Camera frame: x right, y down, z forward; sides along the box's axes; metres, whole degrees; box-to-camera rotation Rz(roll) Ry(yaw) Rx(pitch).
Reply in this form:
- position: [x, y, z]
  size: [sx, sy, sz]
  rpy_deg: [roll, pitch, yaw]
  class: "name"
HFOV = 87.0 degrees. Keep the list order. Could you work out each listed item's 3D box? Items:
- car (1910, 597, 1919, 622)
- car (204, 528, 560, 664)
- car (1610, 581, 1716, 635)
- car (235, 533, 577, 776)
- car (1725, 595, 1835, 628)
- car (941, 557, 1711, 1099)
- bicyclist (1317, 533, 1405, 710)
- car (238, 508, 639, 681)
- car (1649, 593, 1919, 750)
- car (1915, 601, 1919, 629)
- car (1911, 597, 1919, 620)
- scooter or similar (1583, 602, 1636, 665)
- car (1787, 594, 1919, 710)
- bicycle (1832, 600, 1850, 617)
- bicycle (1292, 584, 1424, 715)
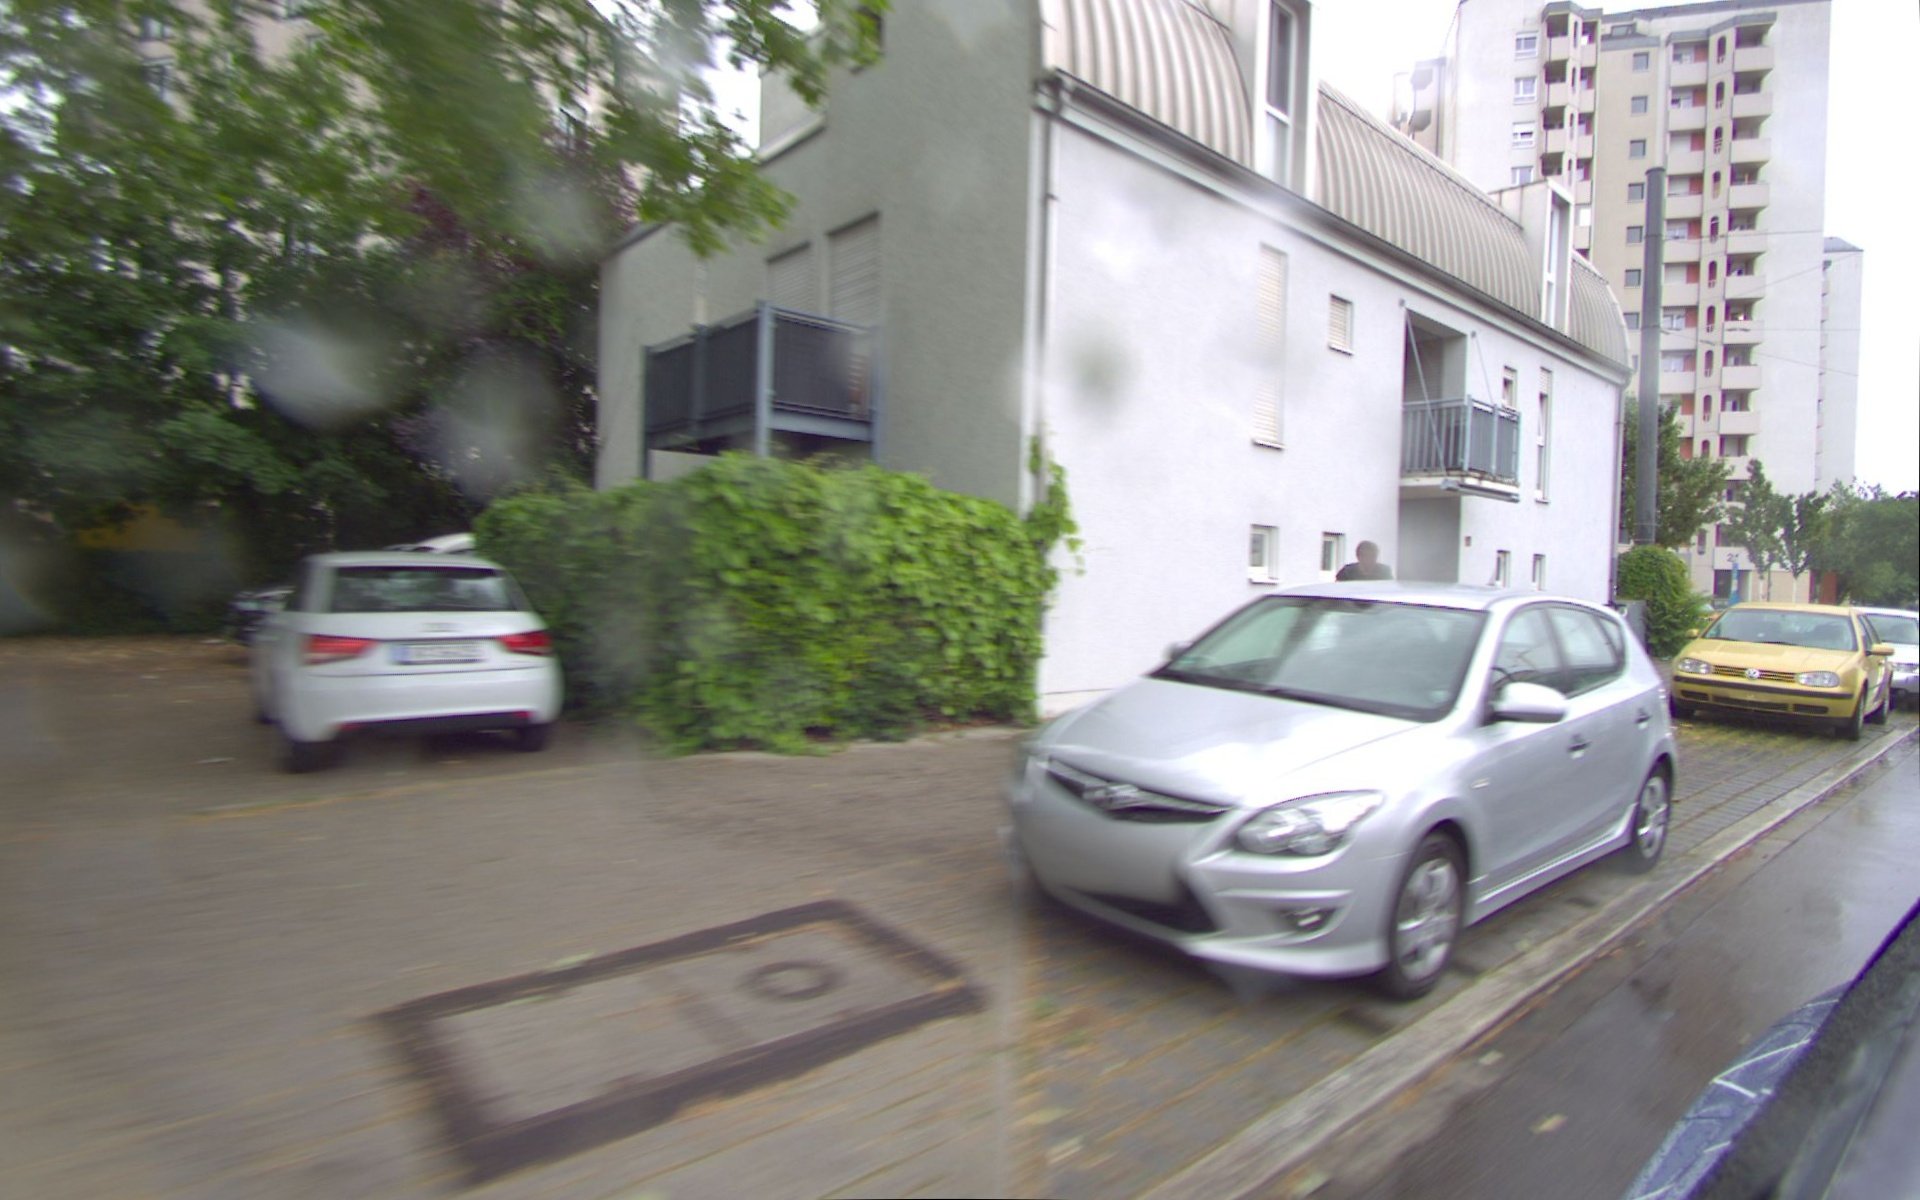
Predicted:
- position: [63.040, 0.806, 63.855]
  size: [4.115, 1.566, 1.762]
  rpy_deg: [5, 2, 7]
  class: "car"
- position: [-8.220, -0.080, 14.581]
  size: [4.174, 1.675, 1.997]
  rpy_deg: [0, 1, -41]
  class: "car"
- position: [25.398, 0.292, 36.503]
  size: [4.809, 1.806, 1.967]
  rpy_deg: [1, 0, -40]
  class: "car"
- position: [-4.439, 0.270, 7.823]
  size: [1.729, 1.395, 3.705]
  rpy_deg: [0, 1, -38]
  class: "car"
- position: [42.806, 0.598, 52.923]
  size: [4.057, 1.637, 1.805]
  rpy_deg: [1, 0, 18]
  class: "car"
- position: [1.942, 0.625, 4.845]
  size: [3.728, 1.485, 1.811]
  rpy_deg: [-1, 5, -41]
  class: "car"
- position: [3.759, 0.183, 9.475]
  size: [0.533, 1.579, 0.761]
  rpy_deg: [1, 1, 40]
  class: "bicyclist"
- position: [-6.460, -0.100, 12.773]
  size: [4.174, 1.816, 1.997]
  rpy_deg: [-1, 1, -41]
  class: "car"
- position: [9.900, 0.706, 12.063]
  size: [3.728, 1.422, 1.811]
  rpy_deg: [-1, 5, -41]
  class: "car"
- position: [56.316, 0.934, 57.447]
  size: [2.521, 1.567, 1.600]
  rpy_deg: [2, 2, 7]
  class: "car"
- position: [73.101, 0.826, 74.311]
  size: [4.389, 1.692, 1.808]
  rpy_deg: [5, 2, 9]
  class: "car"
- position: [11.851, 0.585, 18.441]
  size: [1.369, 1.098, 0.334]
  rpy_deg: [0, 1, -36]
  class: "scooter or similar"
- position: [14.324, 0.701, 15.570]
  size: [4.568, 1.422, 1.654]
  rpy_deg: [-1, 5, -41]
  class: "car"
- position: [56.300, 0.530, 64.697]
  size: [2.024, 1.018, 0.662]
  rpy_deg: [-1, 1, -43]
  class: "bicycle"
- position: [3.769, 0.407, 9.490]
  size: [0.536, 1.106, 1.919]
  rpy_deg: [1, 1, 41]
  class: "bicycle"
